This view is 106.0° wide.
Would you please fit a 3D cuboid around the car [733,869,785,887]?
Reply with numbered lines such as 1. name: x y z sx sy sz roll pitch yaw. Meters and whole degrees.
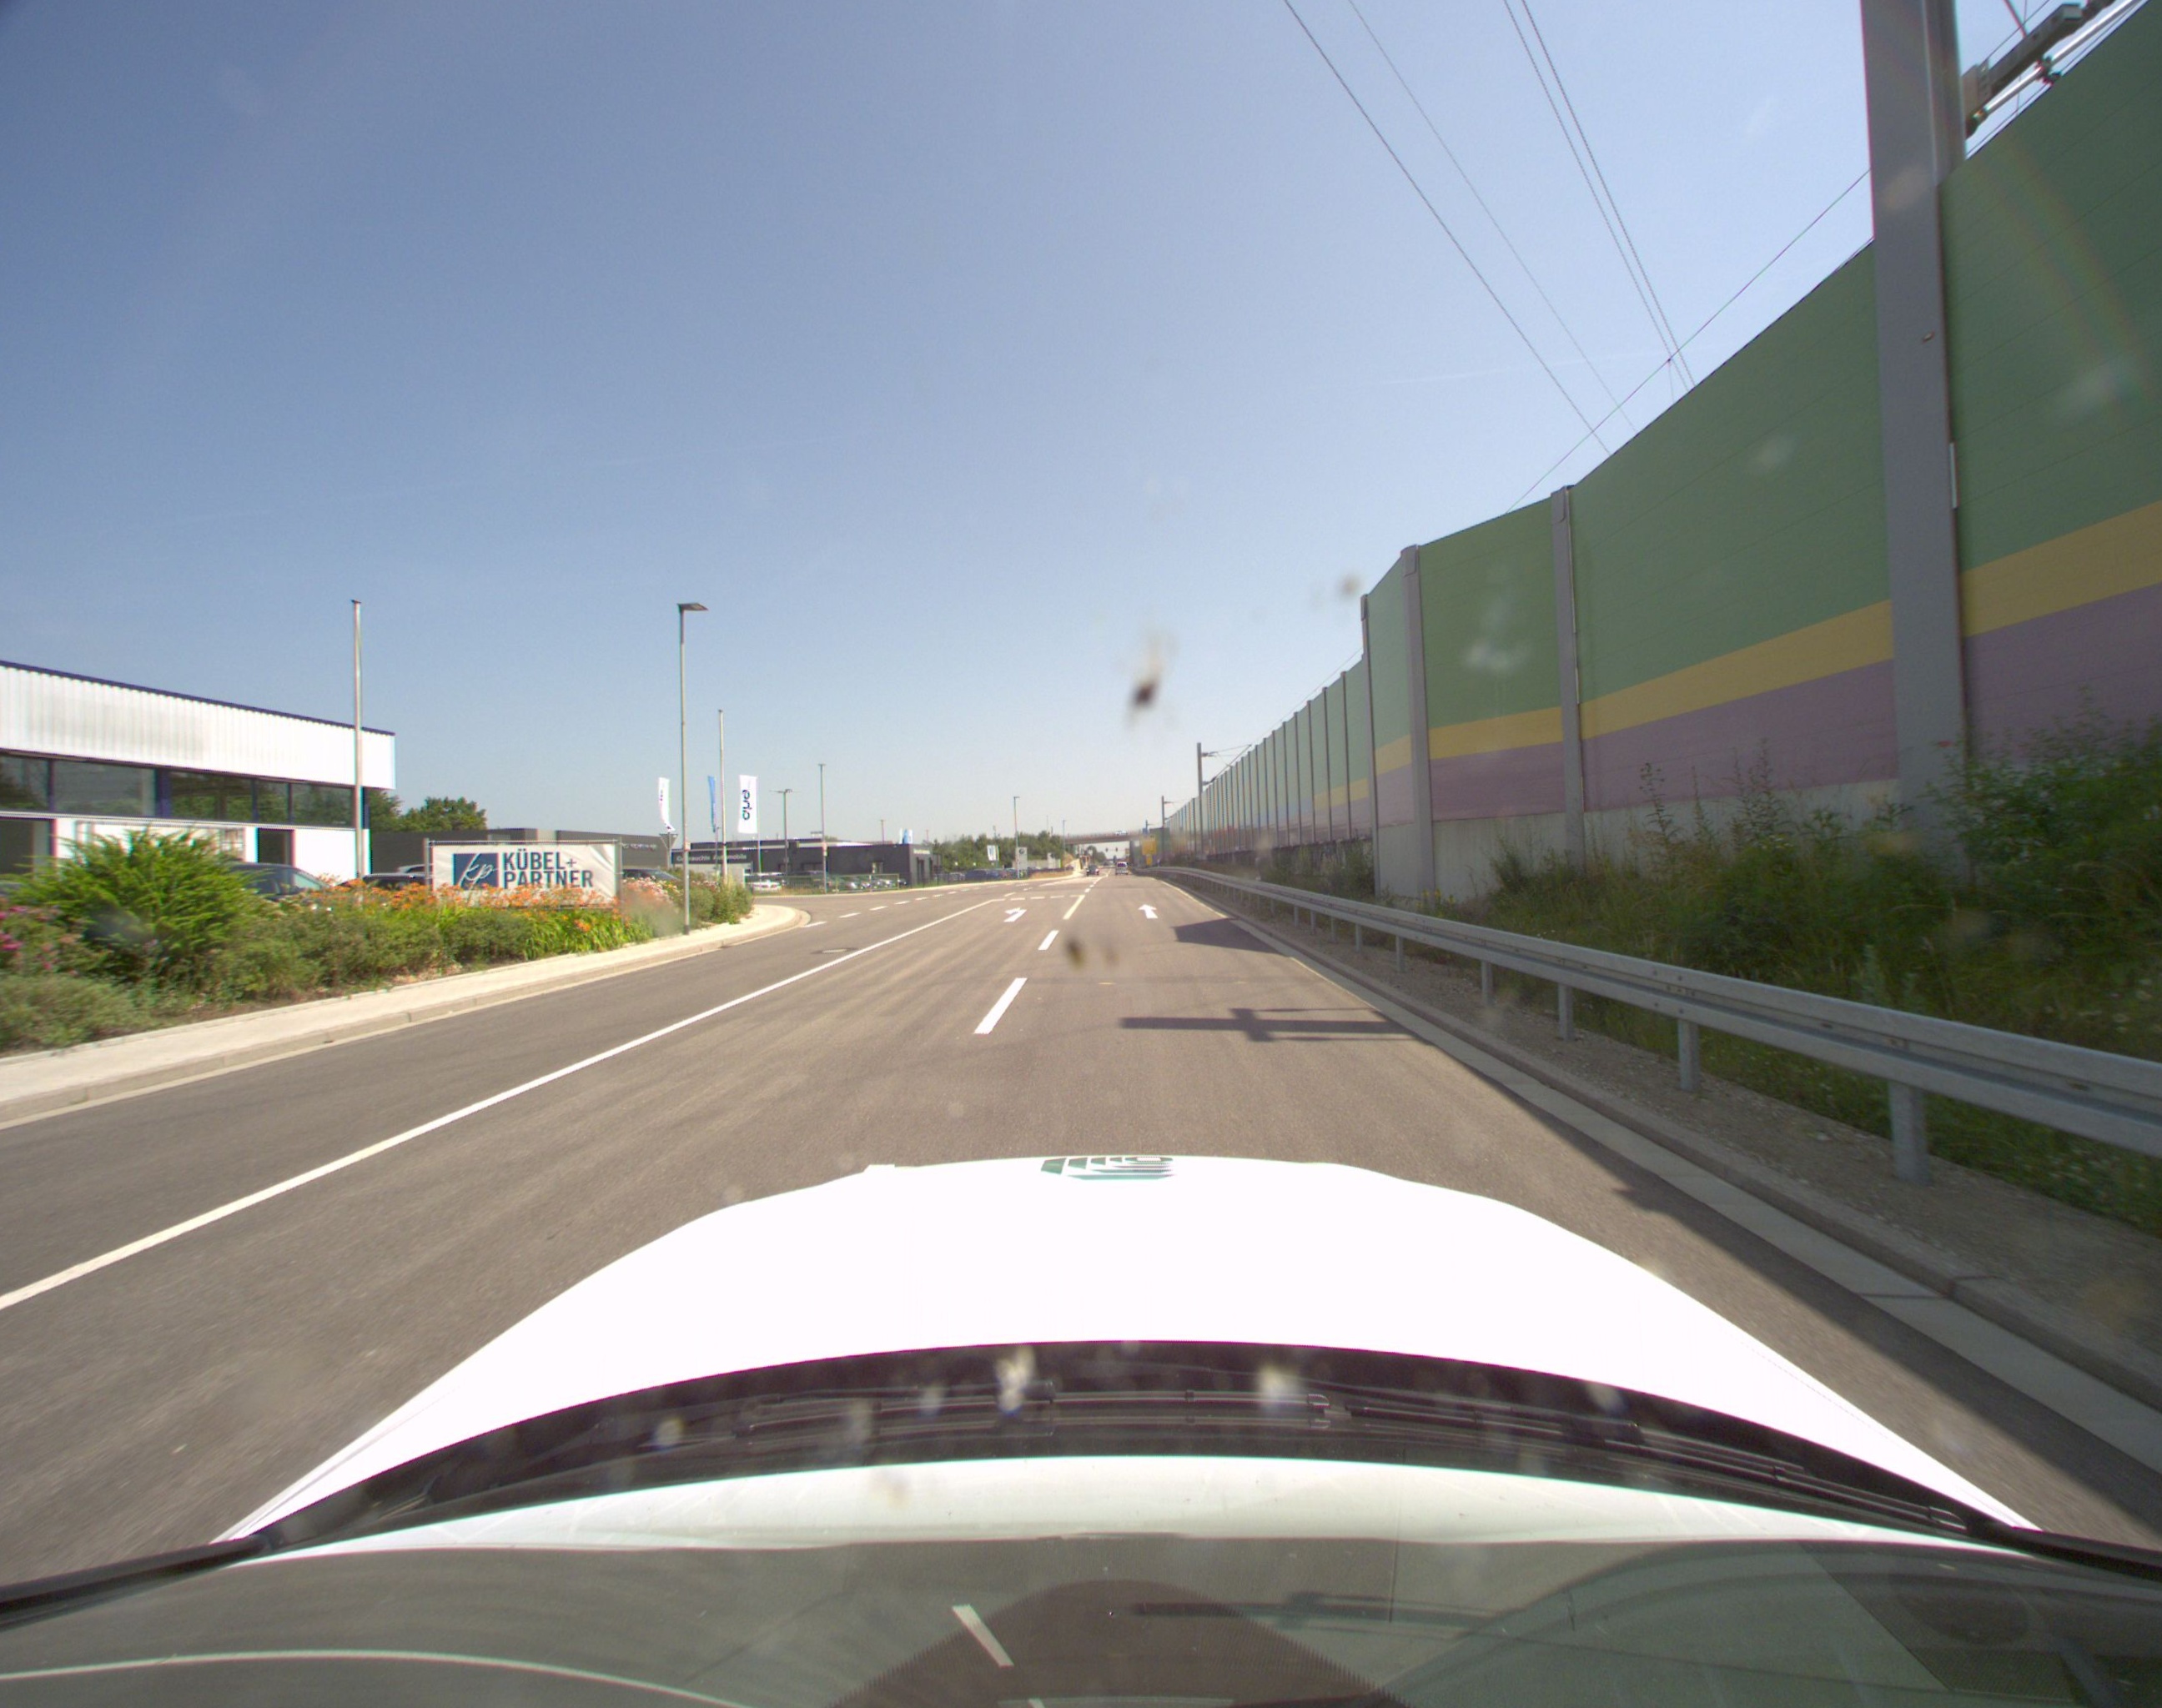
1. car: -28.378 2.105 71.912 3.824 1.421 1.686 -2 0 0

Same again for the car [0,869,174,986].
1. car: -16.227 1.083 11.707 3.976 1.529 1.999 -3 0 -2

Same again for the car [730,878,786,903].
1. car: -22.265 2.527 56.080 1.938 1.562 4.452 0 -2 -45

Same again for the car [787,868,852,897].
1. car: -18.185 1.991 56.538 4.619 1.865 2.079 -3 -3 39

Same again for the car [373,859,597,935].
1. car: -15.035 1.042 20.725 4.212 1.648 1.833 -3 0 -2

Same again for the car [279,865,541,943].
1. car: -14.732 1.060 18.105 3.981 1.414 1.996 -3 0 -5

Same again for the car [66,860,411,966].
1. car: -15.132 1.014 14.822 4.212 1.595 1.833 -3 0 -2

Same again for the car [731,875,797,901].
1. car: -23.464 2.501 60.347 3.973 1.665 1.977 -3 0 0

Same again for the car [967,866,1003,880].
1. car: -11.491 2.271 97.490 3.973 1.480 1.911 -3 0 0

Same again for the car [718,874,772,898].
1. car: -28.378 2.729 68.879 3.824 1.828 1.686 -2 0 0

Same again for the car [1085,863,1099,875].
1. car: 1.585 2.192 118.545 1.870 1.673 4.293 -3 0 3

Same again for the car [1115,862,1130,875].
1. car: 5.921 2.020 114.984 1.985 1.757 4.004 -2 -1 4

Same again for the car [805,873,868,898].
1. car: -18.021 2.320 60.211 3.973 1.632 1.886 -3 0 0
